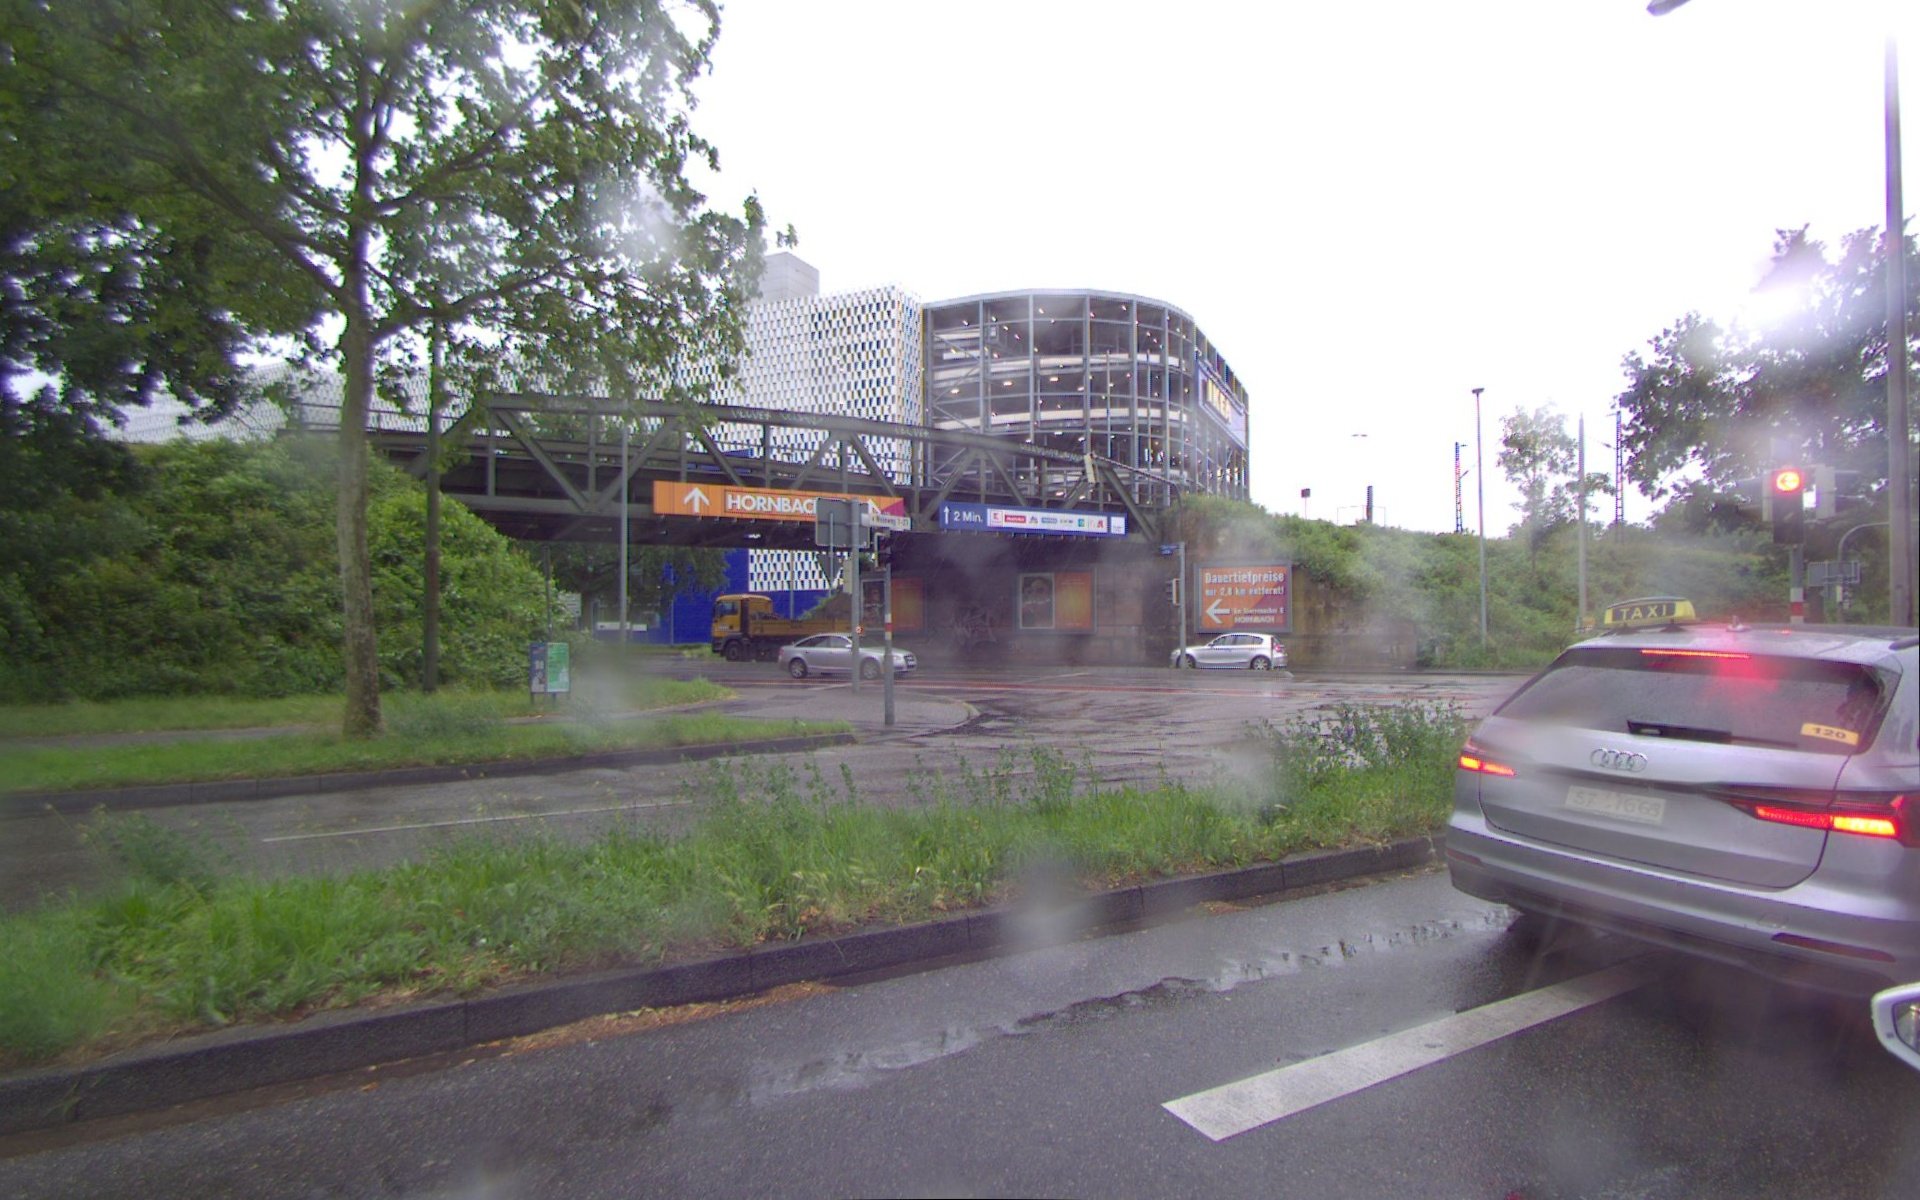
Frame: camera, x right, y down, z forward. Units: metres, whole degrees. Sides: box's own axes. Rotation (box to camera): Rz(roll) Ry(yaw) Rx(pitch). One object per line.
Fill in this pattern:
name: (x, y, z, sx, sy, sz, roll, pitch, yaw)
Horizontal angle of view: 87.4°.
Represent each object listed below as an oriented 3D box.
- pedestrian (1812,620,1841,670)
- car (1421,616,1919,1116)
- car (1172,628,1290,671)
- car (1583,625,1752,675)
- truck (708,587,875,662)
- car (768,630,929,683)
pedestrian: (32.435, 1.680, 37.606, 0.661, 1.809, 0.533, 2, 0, -12)
car: (4.365, 0.836, 4.784, 4.521, 1.452, 1.682, 1, -1, -30)
car: (9.763, 1.753, 36.150, 3.923, 1.505, 1.818, -1, -2, 22)
car: (21.600, 1.507, 30.842, 3.923, 1.448, 1.717, -1, -2, 23)
truck: (-7.388, 1.085, 43.979, 6.914, 3.094, 2.646, -1, -2, 23)
car: (-3.660, 1.792, 32.788, 4.962, 1.553, 1.998, 0, -1, 27)
